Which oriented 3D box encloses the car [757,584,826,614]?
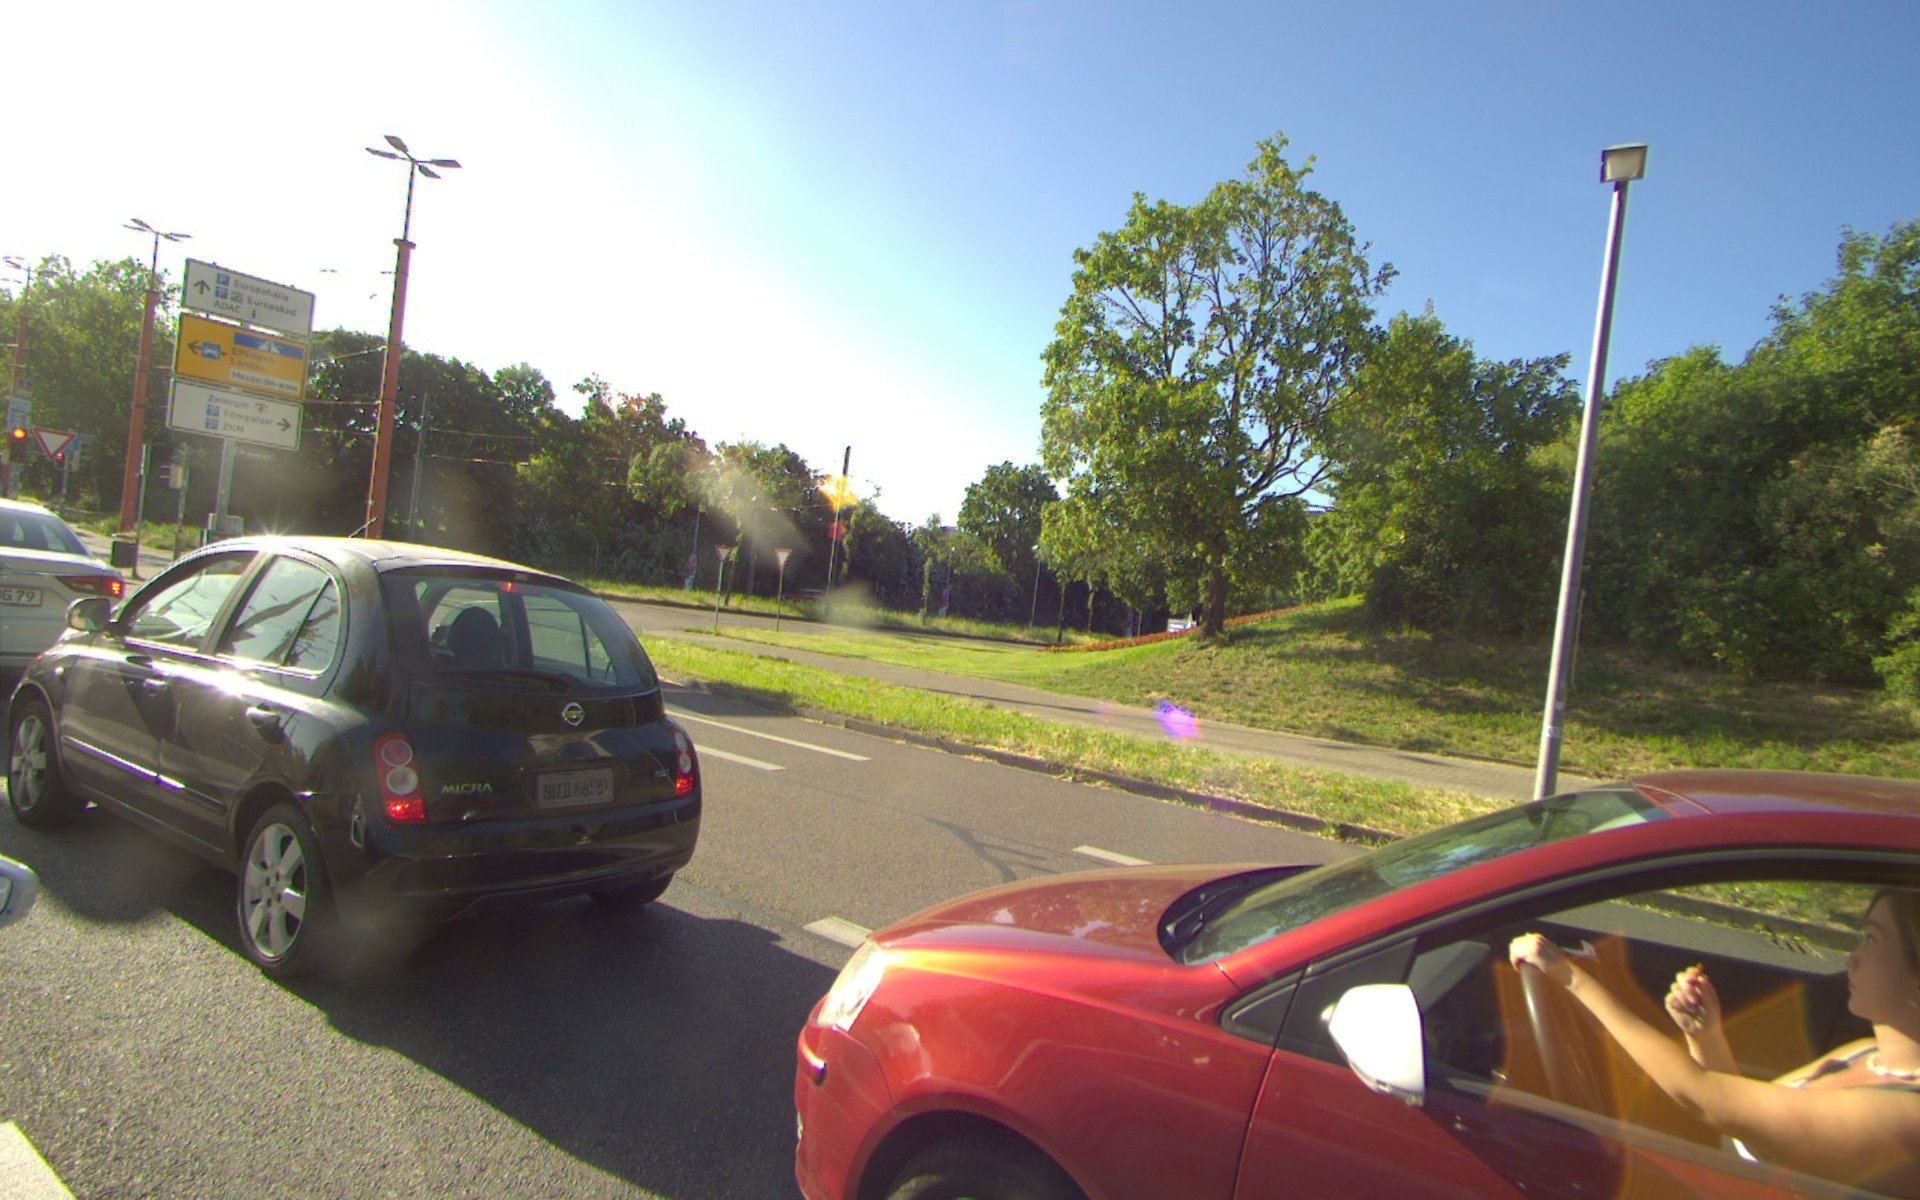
[{"bbox_3d":[-11.827,-0.088,70.558,4.244,1.513,1.984,8,0,-31],"label":"car"}]

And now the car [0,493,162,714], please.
[{"bbox_3d":[-8.331,-0.184,8.004,4.295,1.482,1.769,7,0,33],"label":"car"}]

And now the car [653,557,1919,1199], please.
[{"bbox_3d":[1.814,1.005,1.623,4.649,1.577,1.769,7,0,33],"label":"car"}]

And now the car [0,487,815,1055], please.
[{"bbox_3d":[-3.083,0.419,4.888,4.546,1.500,1.737,7,0,32],"label":"car"}]
